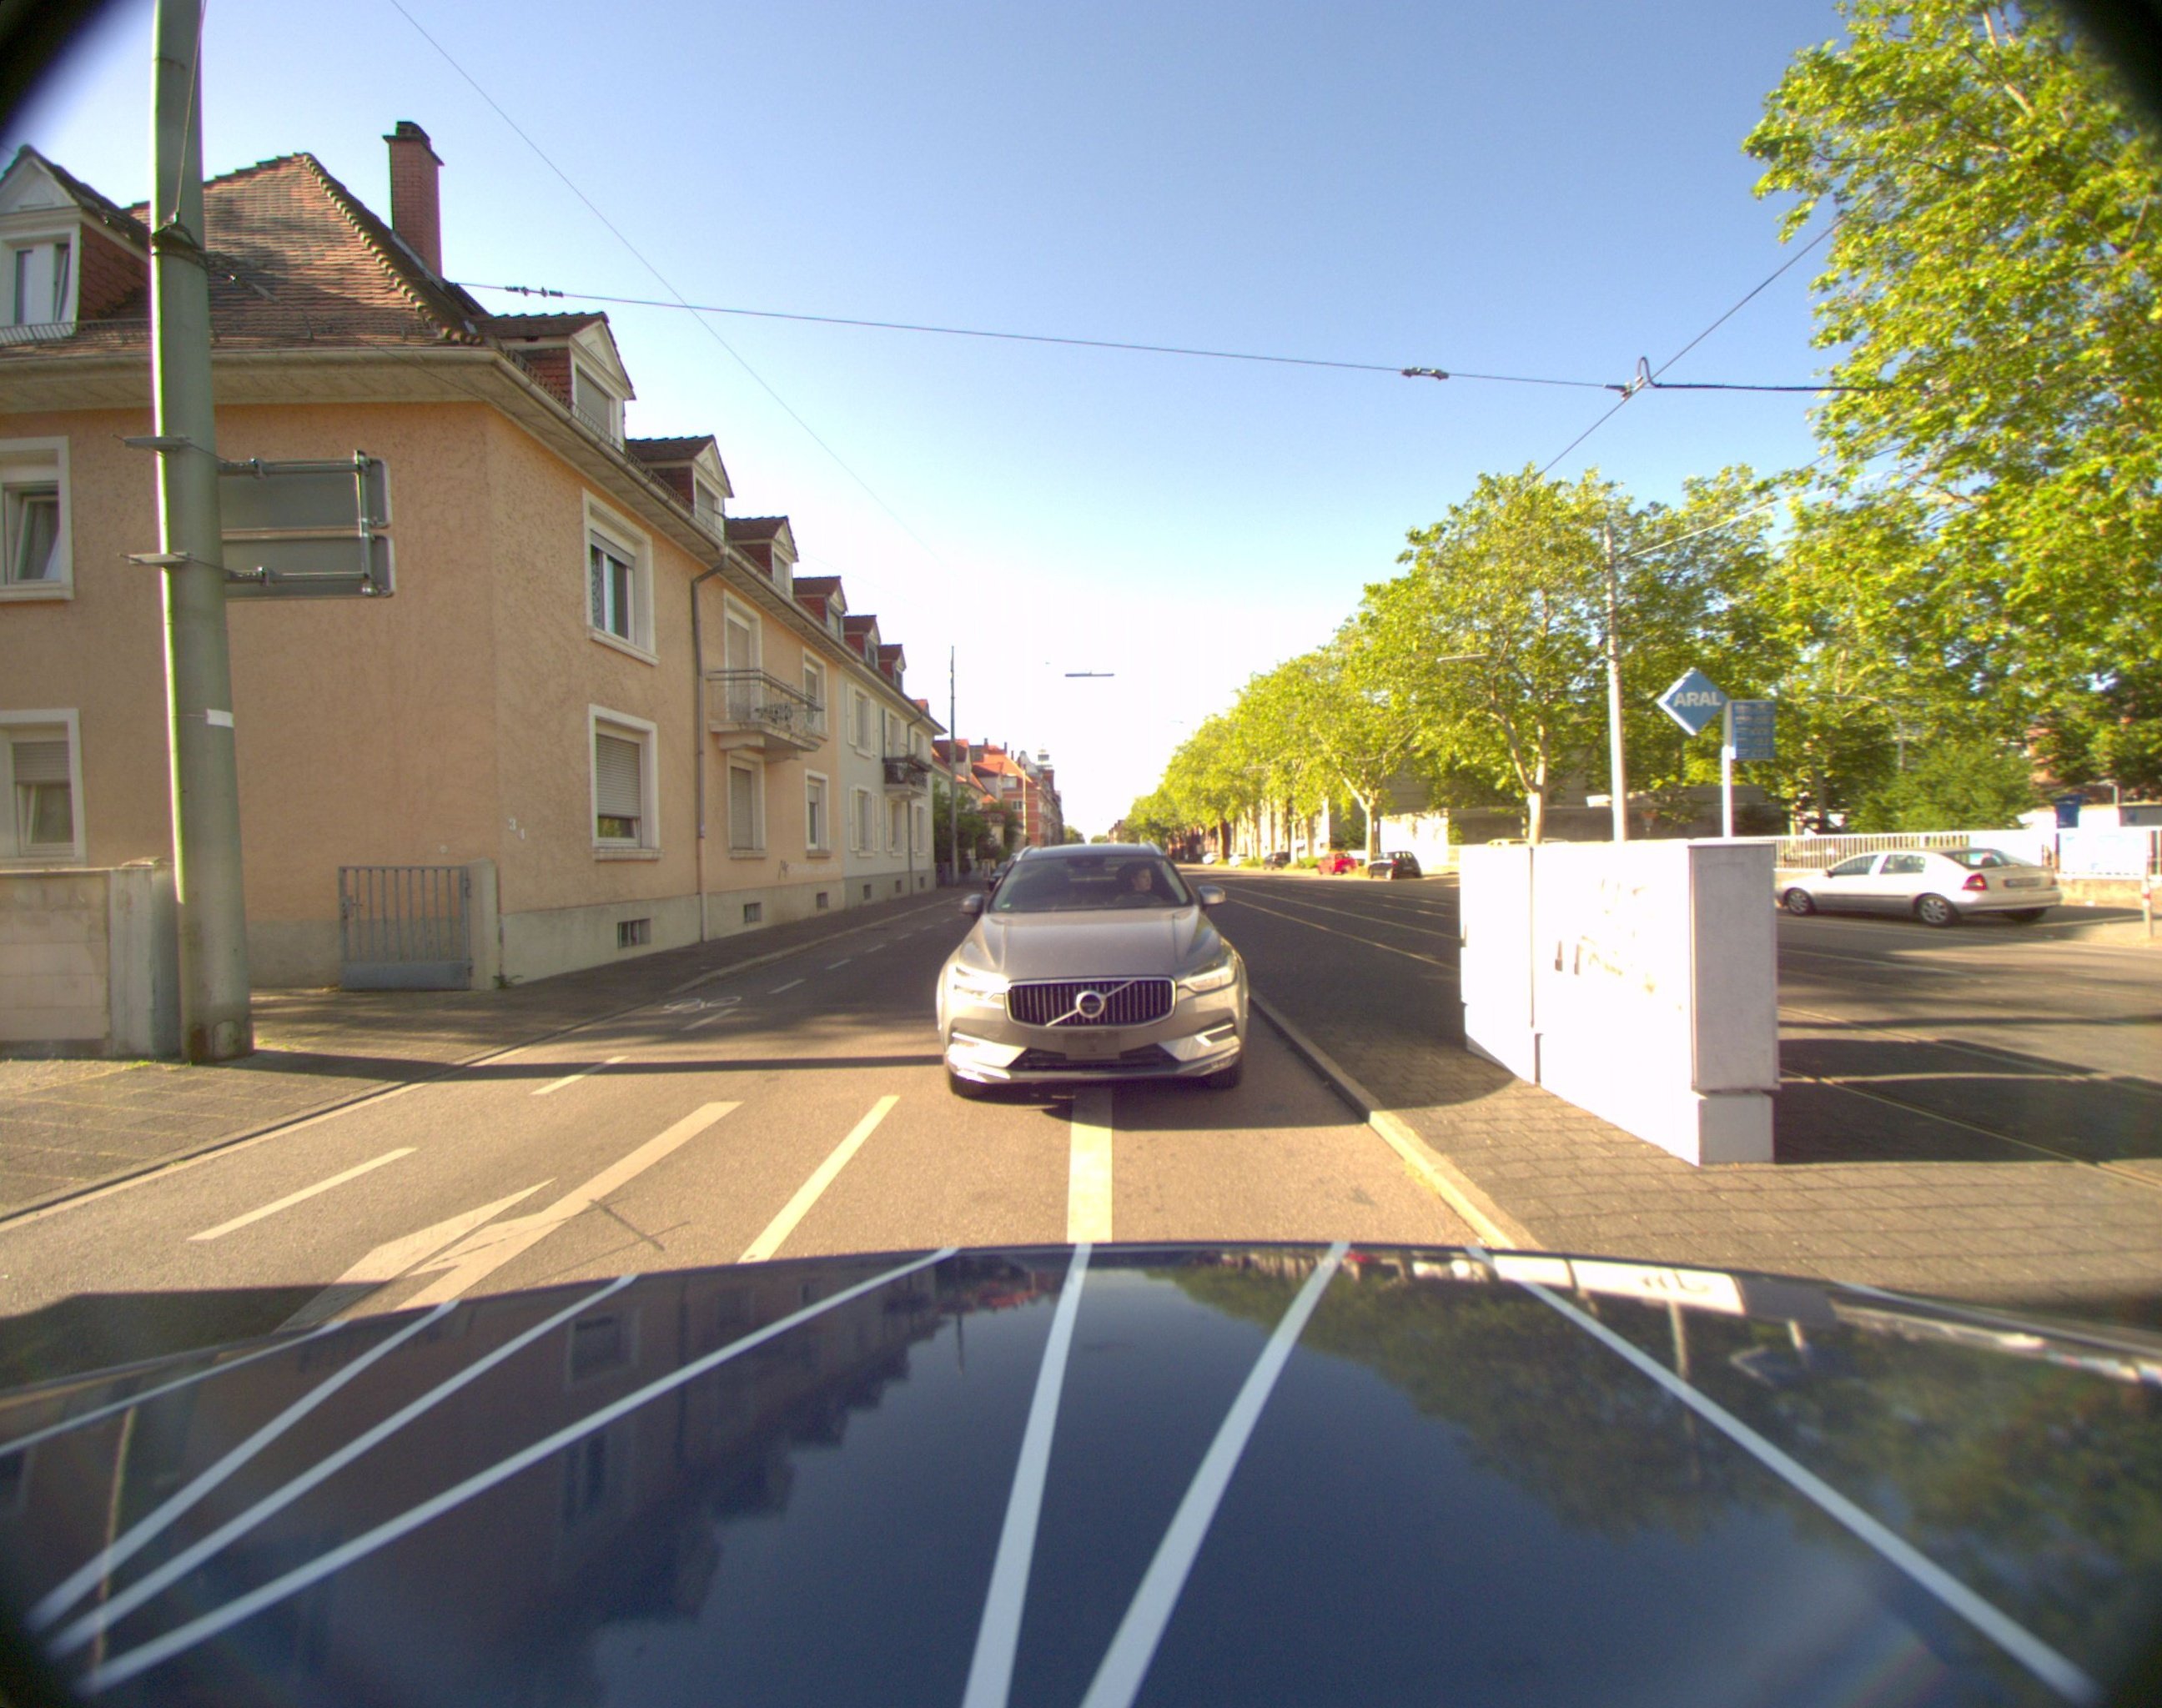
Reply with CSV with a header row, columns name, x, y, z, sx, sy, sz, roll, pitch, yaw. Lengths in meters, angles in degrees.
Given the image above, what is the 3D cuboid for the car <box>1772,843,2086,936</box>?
name,x,y,z,sx,sy,sz,roll,pitch,yaw
car,16.240,0.601,14.906,1.847,1.477,3.858,-4,0,2

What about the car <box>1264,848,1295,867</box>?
name,x,y,z,sx,sy,sz,roll,pitch,yaw
car,17.174,0.283,65.914,1.758,1.536,3.858,-3,0,3

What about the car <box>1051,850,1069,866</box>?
name,x,y,z,sx,sy,sz,roll,pitch,yaw
car,-2.324,0.419,85.449,1.867,1.653,4.078,-1,0,1

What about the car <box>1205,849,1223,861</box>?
name,x,y,z,sx,sy,sz,roll,pitch,yaw
car,17.671,0.150,100.936,1.758,1.475,3.858,-3,0,3

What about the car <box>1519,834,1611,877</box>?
name,x,y,z,sx,sy,sz,roll,pitch,yaw
car,24.161,0.071,38.099,1.999,2.002,3.999,-1,0,-1

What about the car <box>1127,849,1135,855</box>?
name,x,y,z,sx,sy,sz,roll,pitch,yaw
car,14.931,-0.494,227.807,1.998,1.685,4.000,-1,0,1

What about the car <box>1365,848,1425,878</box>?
name,x,y,z,sx,sy,sz,roll,pitch,yaw
car,16.893,0.449,41.041,1.758,1.449,3.858,-3,0,3

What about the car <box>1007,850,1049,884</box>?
name,x,y,z,sx,sy,sz,roll,pitch,yaw
car,-2.912,0.692,42.829,1.867,1.778,5.297,-1,0,1

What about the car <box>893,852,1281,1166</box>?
name,x,y,z,sx,sy,sz,roll,pitch,yaw
car,0.064,0.807,6.329,1.998,1.609,4.697,-1,0,1

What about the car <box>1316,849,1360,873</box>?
name,x,y,z,sx,sy,sz,roll,pitch,yaw
car,16.905,0.441,50.183,1.717,1.421,3.858,-3,0,3

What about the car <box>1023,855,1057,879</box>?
name,x,y,z,sx,sy,sz,roll,pitch,yaw
car,-2.577,0.804,48.496,1.867,1.399,4.078,-1,0,1

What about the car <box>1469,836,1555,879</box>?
name,x,y,z,sx,sy,sz,roll,pitch,yaw
car,21.813,0.160,38.640,1.999,2.002,3.999,-1,0,-1

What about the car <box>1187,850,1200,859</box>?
name,x,y,z,sx,sy,sz,roll,pitch,yaw
car,18.507,0.042,125.292,1.758,1.475,3.858,-3,0,3

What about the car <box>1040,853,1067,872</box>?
name,x,y,z,sx,sy,sz,roll,pitch,yaw
car,-2.131,0.656,60.055,1.867,1.399,4.078,-1,0,1

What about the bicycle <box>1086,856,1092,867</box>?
name,x,y,z,sx,sy,sz,roll,pitch,yaw
bicycle,0.849,0.786,77.906,0.550,1.056,1.794,-1,1,-1

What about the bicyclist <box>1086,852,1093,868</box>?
name,x,y,z,sx,sy,sz,roll,pitch,yaw
bicyclist,0.867,0.571,77.921,0.562,1.607,1.016,-2,1,0

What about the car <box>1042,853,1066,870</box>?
name,x,y,z,sx,sy,sz,roll,pitch,yaw
car,-2.353,0.609,66.360,1.867,1.399,4.078,-1,0,1

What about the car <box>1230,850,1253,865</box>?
name,x,y,z,sx,sy,sz,roll,pitch,yaw
car,17.579,0.343,83.342,1.758,1.475,3.858,-3,0,3

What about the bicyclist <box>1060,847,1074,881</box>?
name,x,y,z,sx,sy,sz,roll,pitch,yaw
bicyclist,-0.708,0.496,38.802,0.561,1.721,1.084,-2,1,1

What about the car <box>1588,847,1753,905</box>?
name,x,y,z,sx,sy,sz,roll,pitch,yaw
car,16.480,0.561,21.514,1.745,1.389,3.858,-4,0,3

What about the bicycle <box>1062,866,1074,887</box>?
name,x,y,z,sx,sy,sz,roll,pitch,yaw
bicycle,-0.678,1.142,38.853,0.533,1.011,1.758,-1,0,1

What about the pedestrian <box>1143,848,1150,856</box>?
name,x,y,z,sx,sy,sz,roll,pitch,yaw
pedestrian,17.927,-0.514,207.345,1.686,2.002,1.761,-1,1,1

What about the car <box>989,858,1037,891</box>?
name,x,y,z,sx,sy,sz,roll,pitch,yaw
car,-3.235,0.955,37.075,1.867,1.399,4.424,-1,0,1
